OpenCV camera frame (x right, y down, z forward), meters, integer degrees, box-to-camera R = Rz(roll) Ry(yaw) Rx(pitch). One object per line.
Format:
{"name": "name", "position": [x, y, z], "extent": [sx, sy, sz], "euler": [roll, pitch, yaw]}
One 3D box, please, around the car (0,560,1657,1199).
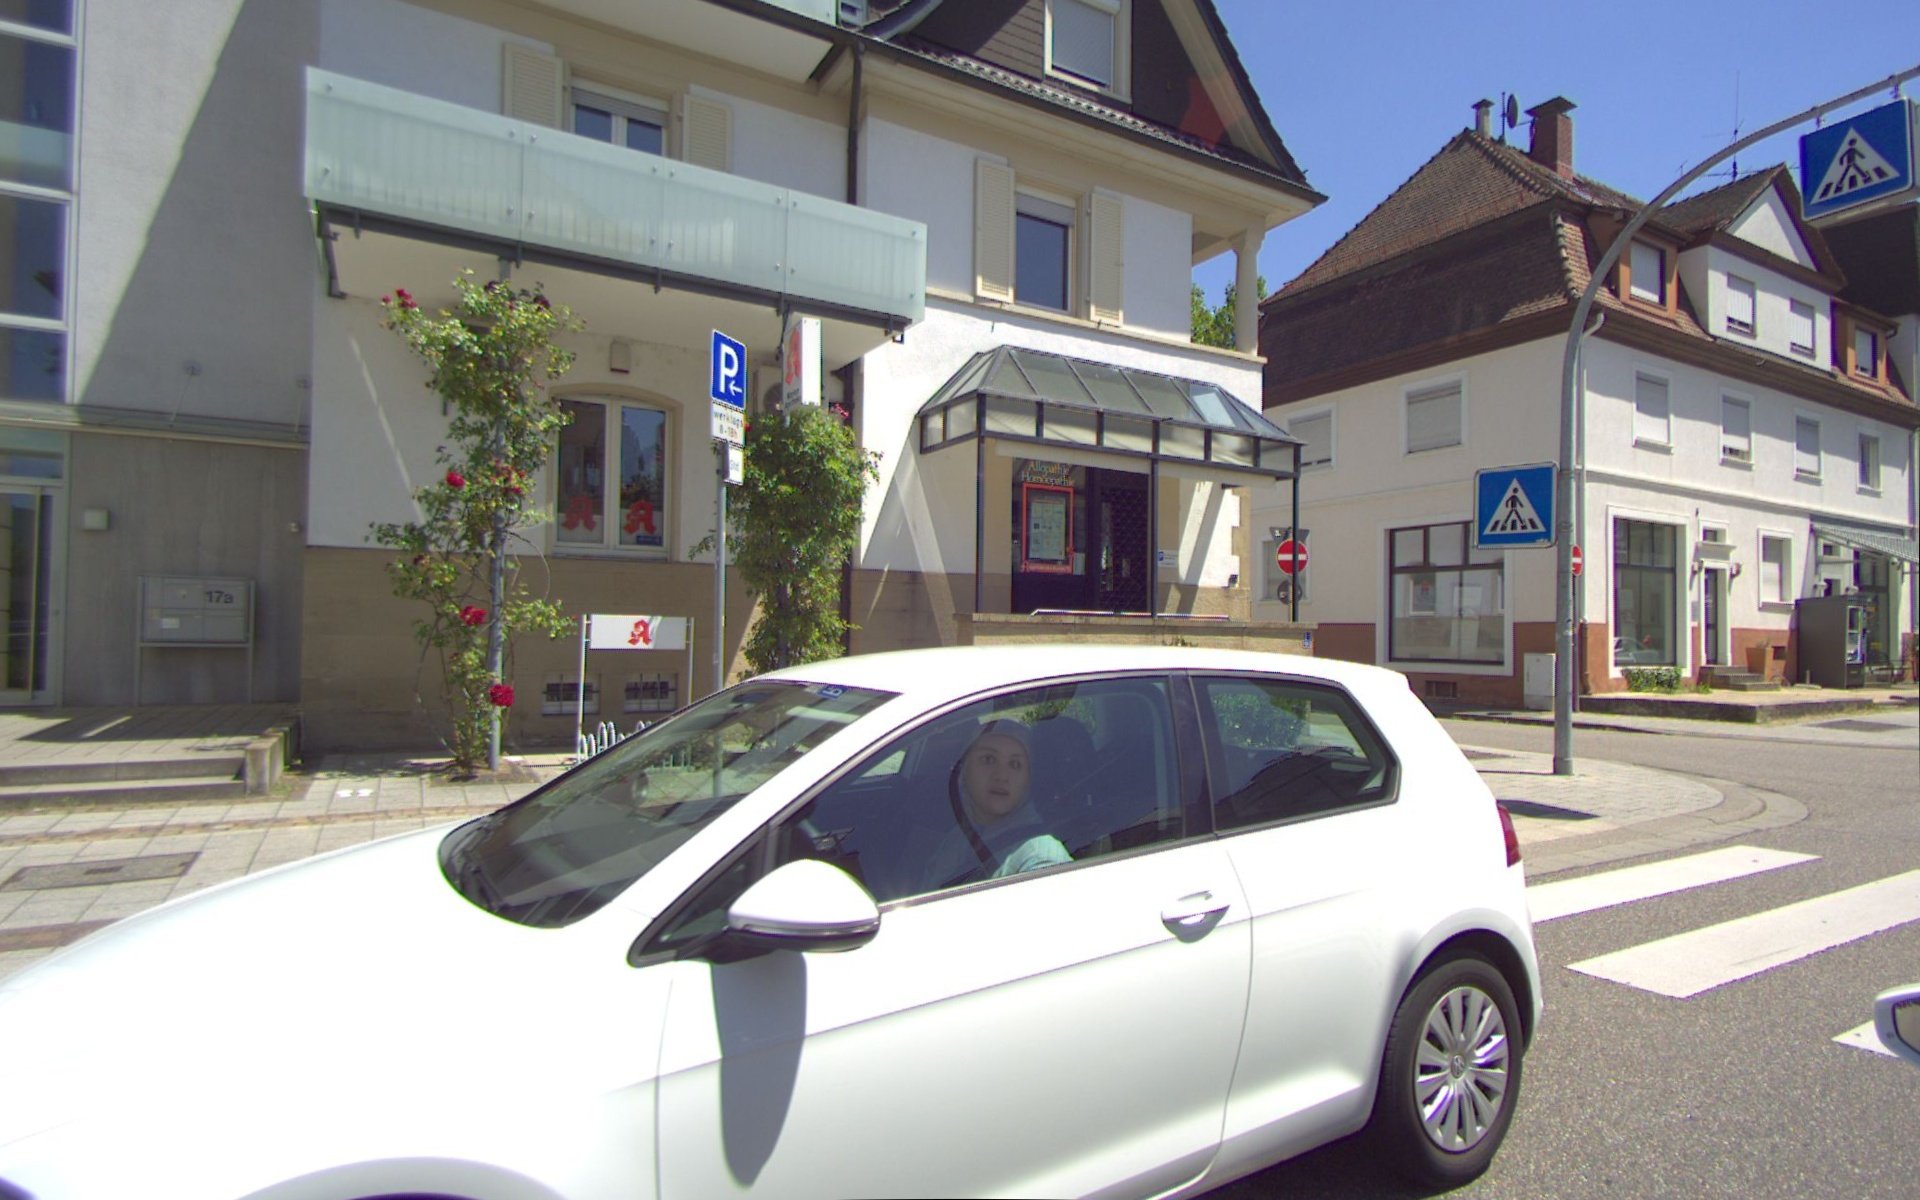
{"name": "car", "position": [-0.055, 0.797, 2.732], "extent": [3.825, 1.501, 1.799], "euler": [2, -3, -31]}
